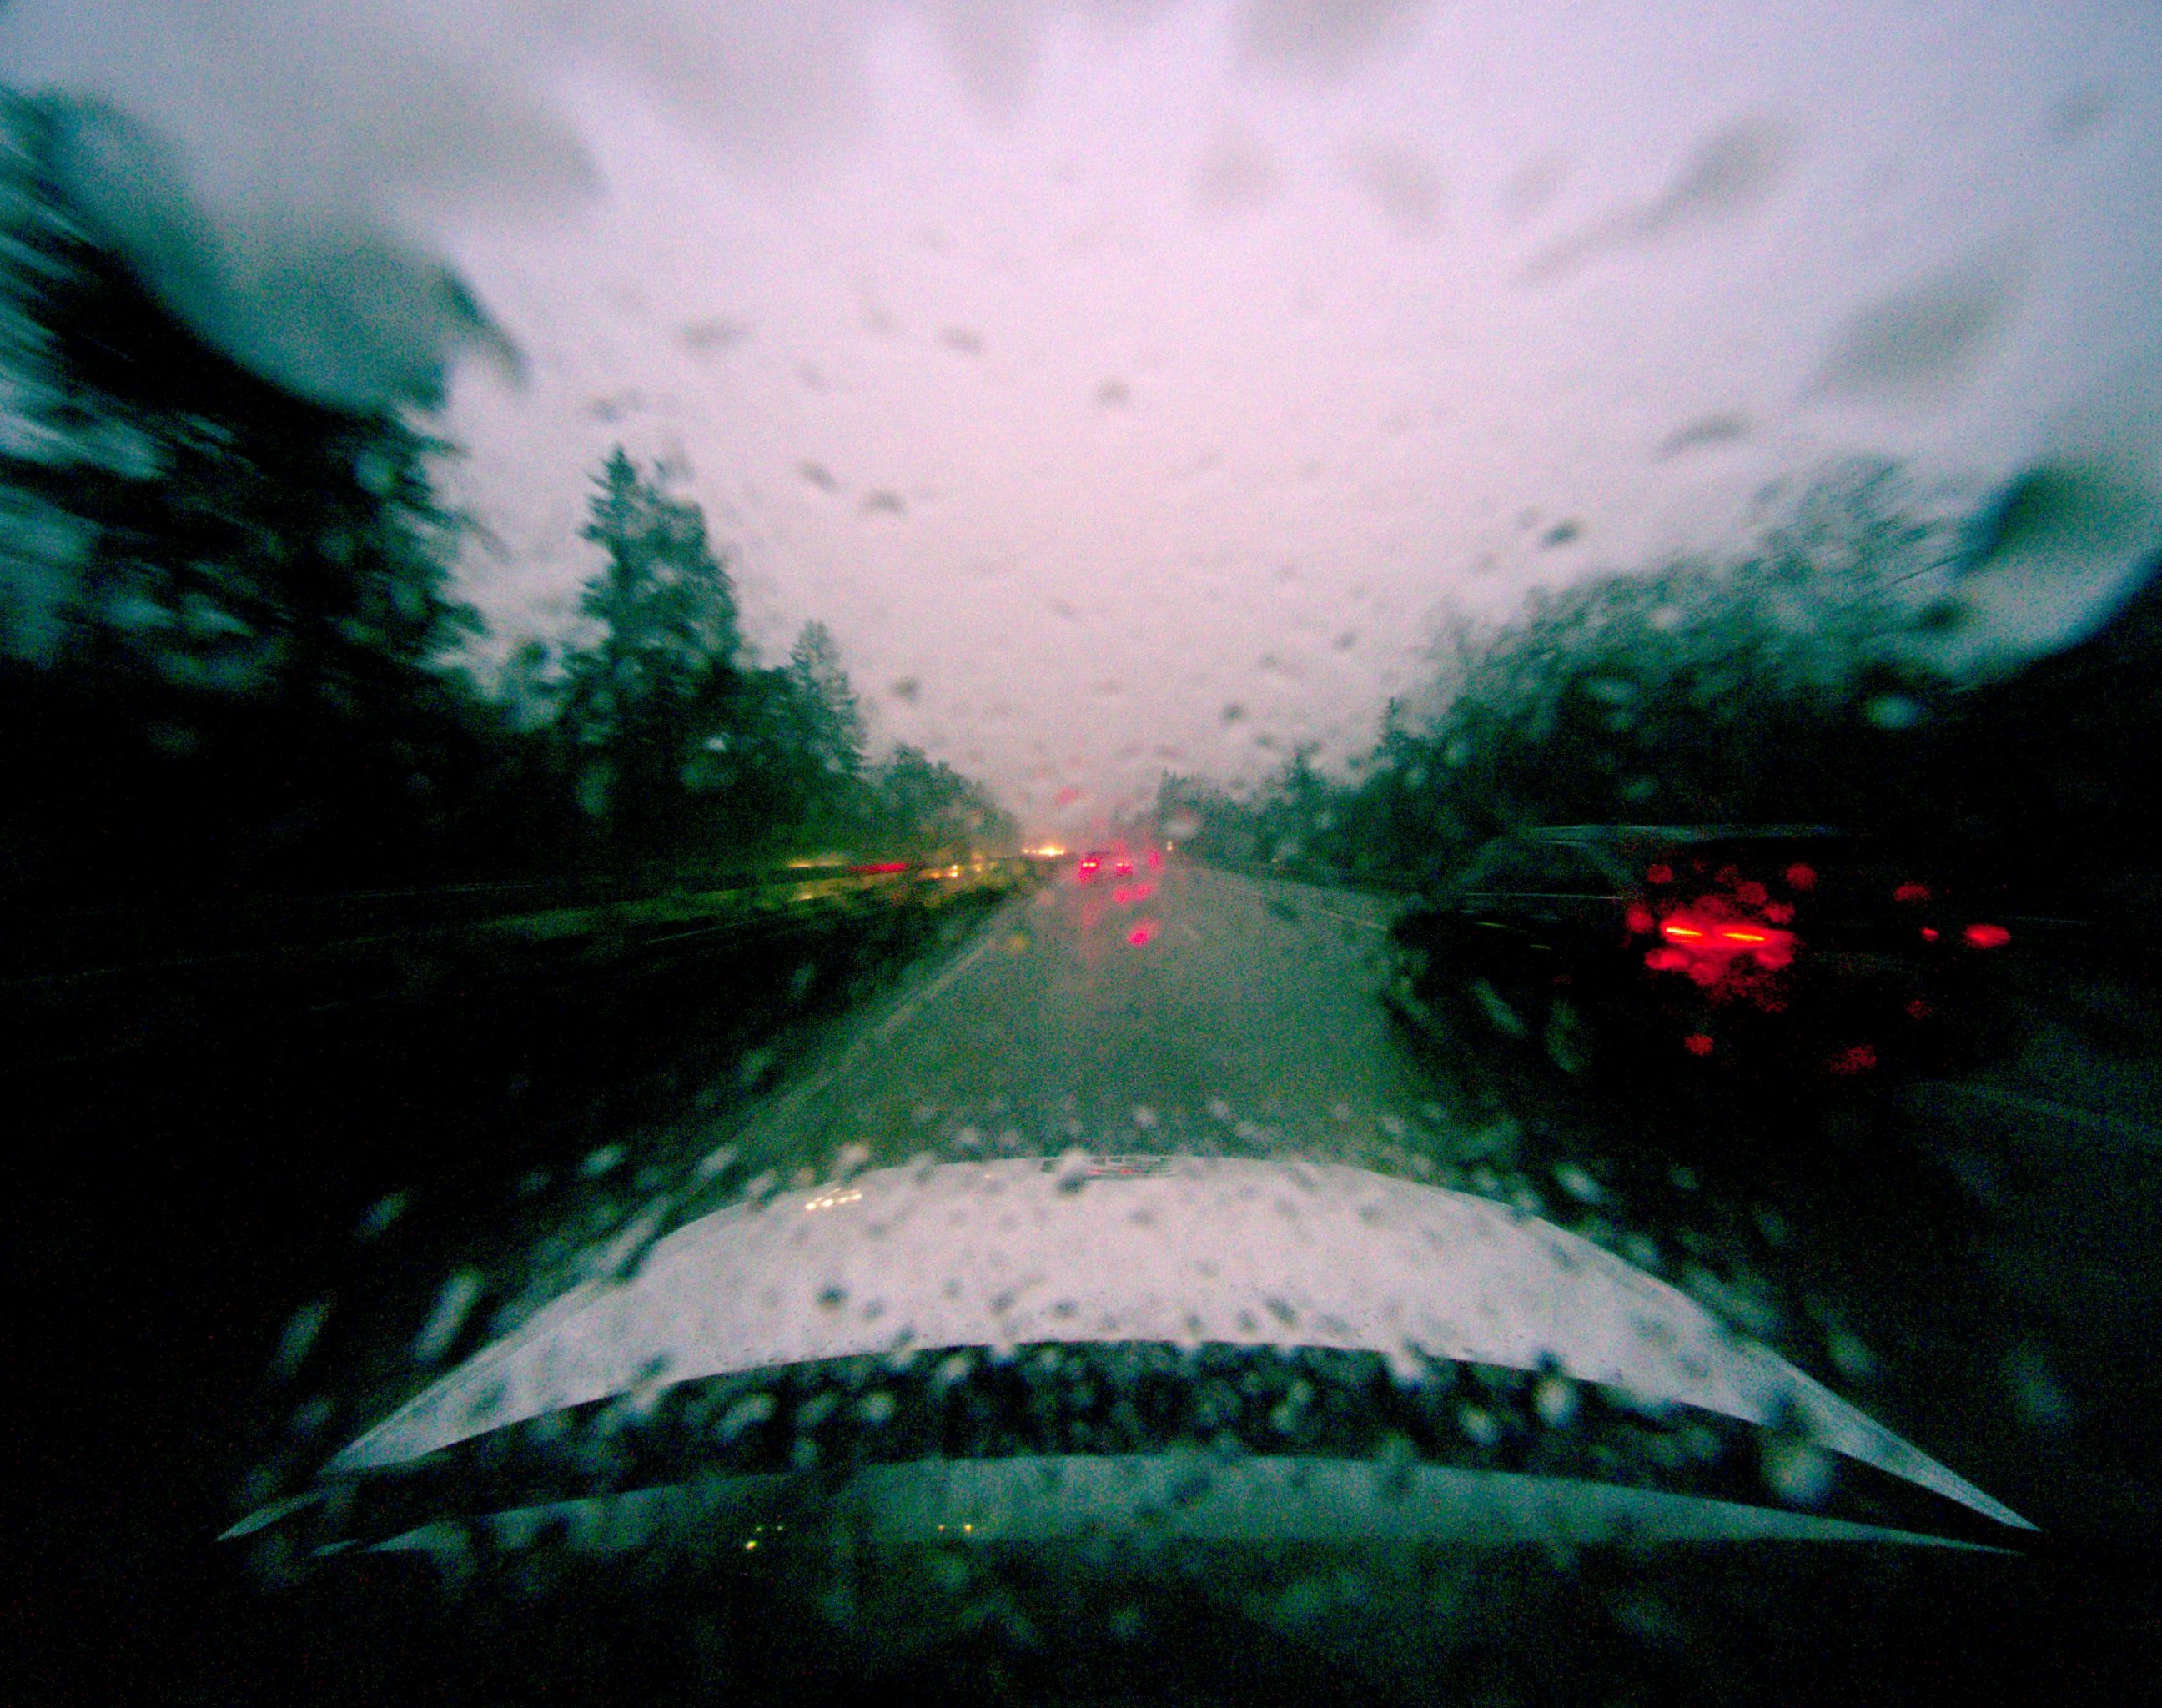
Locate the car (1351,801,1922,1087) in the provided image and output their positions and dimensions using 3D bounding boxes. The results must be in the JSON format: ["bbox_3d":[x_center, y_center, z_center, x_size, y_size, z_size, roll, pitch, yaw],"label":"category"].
[{"bbox_3d":[4.081,0.537,7.138,2.062,1.697,4.463,-1,0,2],"label":"car"}]

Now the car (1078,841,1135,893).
[{"bbox_3d":[0.949,0.450,30.624,1.979,1.767,4.175,-1,0,1],"label":"car"}]

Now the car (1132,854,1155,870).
[{"bbox_3d":[5.757,0.690,74.984,1.775,1.437,3.535,0,0,-1],"label":"car"}]

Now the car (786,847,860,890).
[{"bbox_3d":[-10.873,0.585,34.654,1.806,1.691,4.001,-1,0,1],"label":"car"}]
